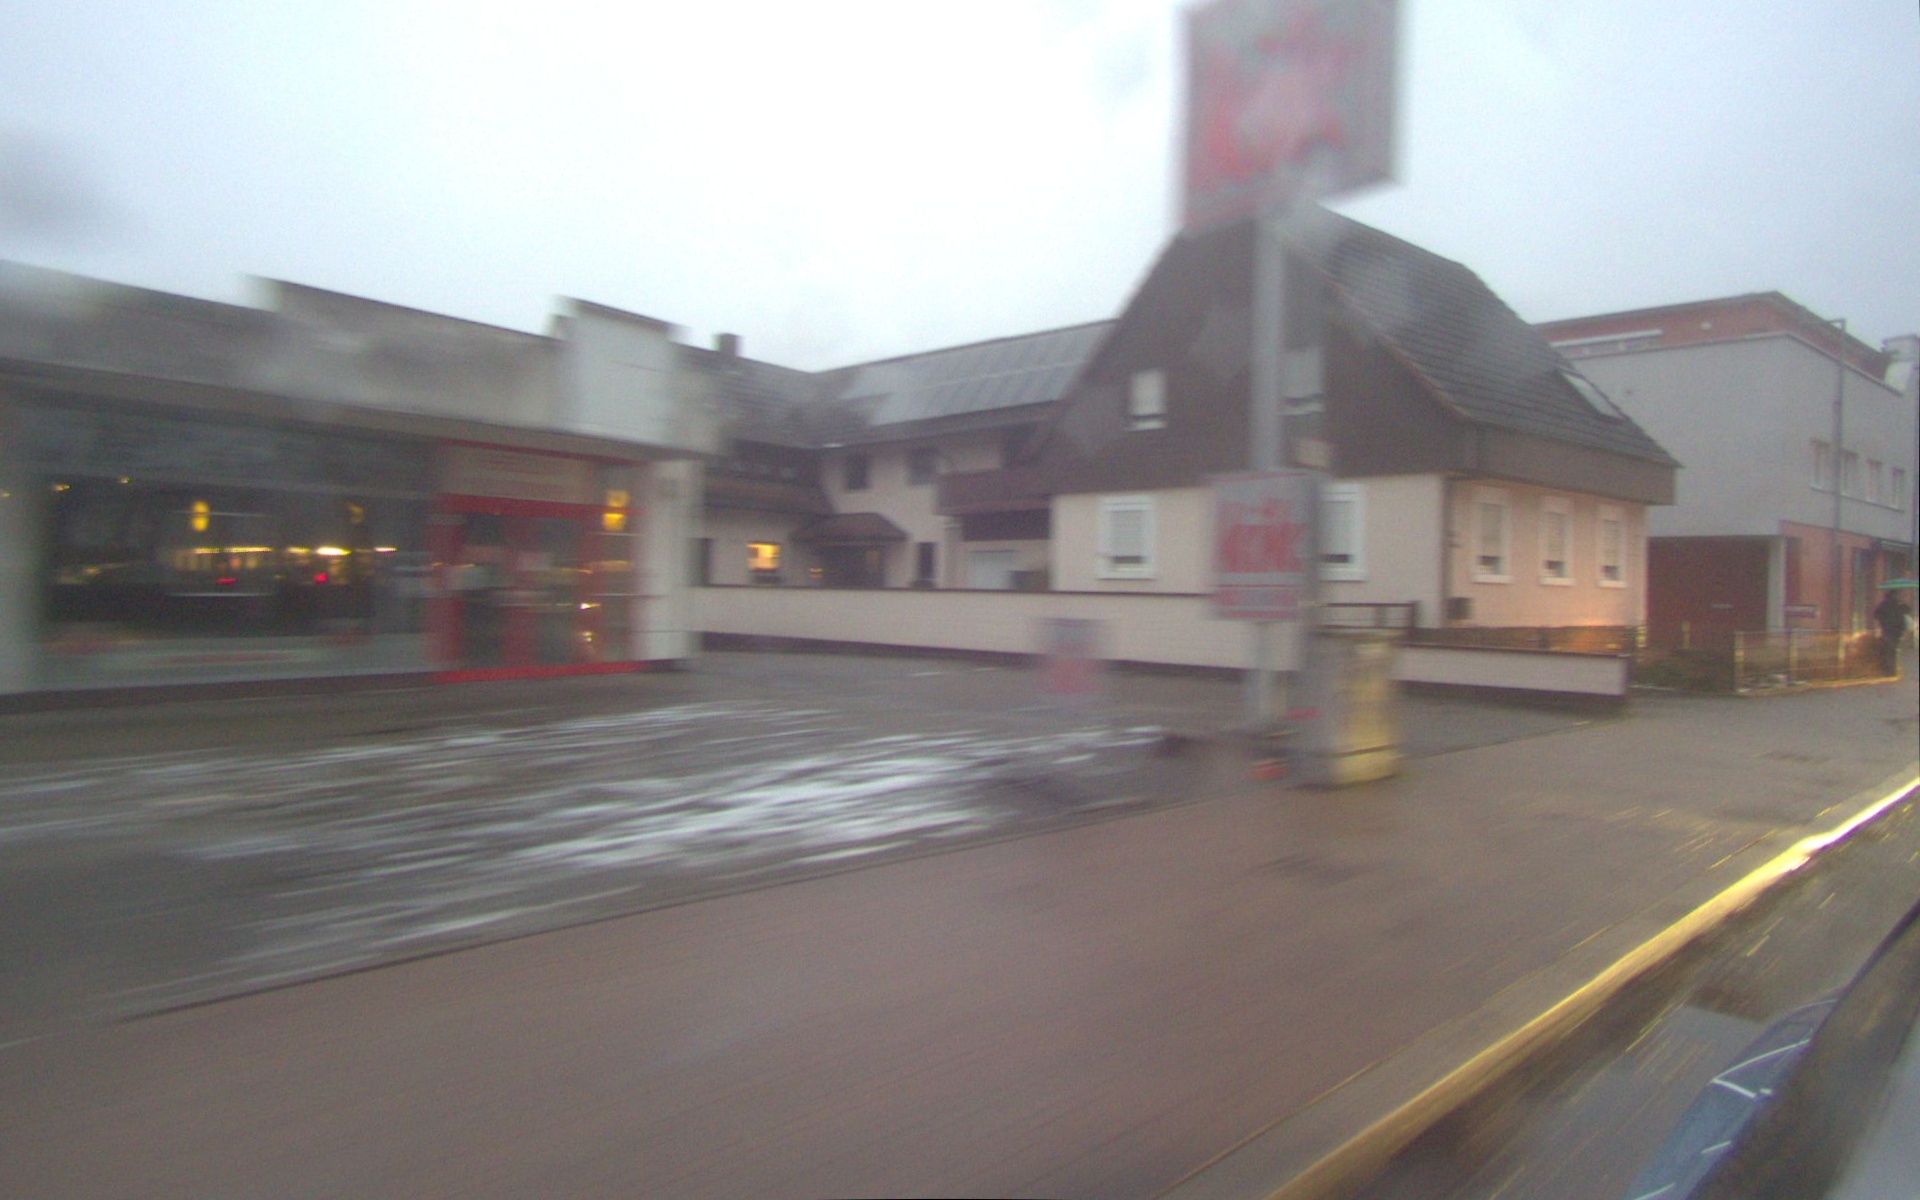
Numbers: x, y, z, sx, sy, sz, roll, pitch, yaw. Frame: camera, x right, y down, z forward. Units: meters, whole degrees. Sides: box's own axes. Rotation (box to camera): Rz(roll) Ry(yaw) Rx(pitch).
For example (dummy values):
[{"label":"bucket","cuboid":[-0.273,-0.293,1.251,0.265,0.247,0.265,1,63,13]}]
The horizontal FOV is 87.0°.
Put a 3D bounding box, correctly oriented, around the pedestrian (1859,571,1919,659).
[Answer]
[{"label":"pedestrian","cuboid":[21.397,0.326,22.904,1.278,1.888,1.259,0,2,-35]}]
